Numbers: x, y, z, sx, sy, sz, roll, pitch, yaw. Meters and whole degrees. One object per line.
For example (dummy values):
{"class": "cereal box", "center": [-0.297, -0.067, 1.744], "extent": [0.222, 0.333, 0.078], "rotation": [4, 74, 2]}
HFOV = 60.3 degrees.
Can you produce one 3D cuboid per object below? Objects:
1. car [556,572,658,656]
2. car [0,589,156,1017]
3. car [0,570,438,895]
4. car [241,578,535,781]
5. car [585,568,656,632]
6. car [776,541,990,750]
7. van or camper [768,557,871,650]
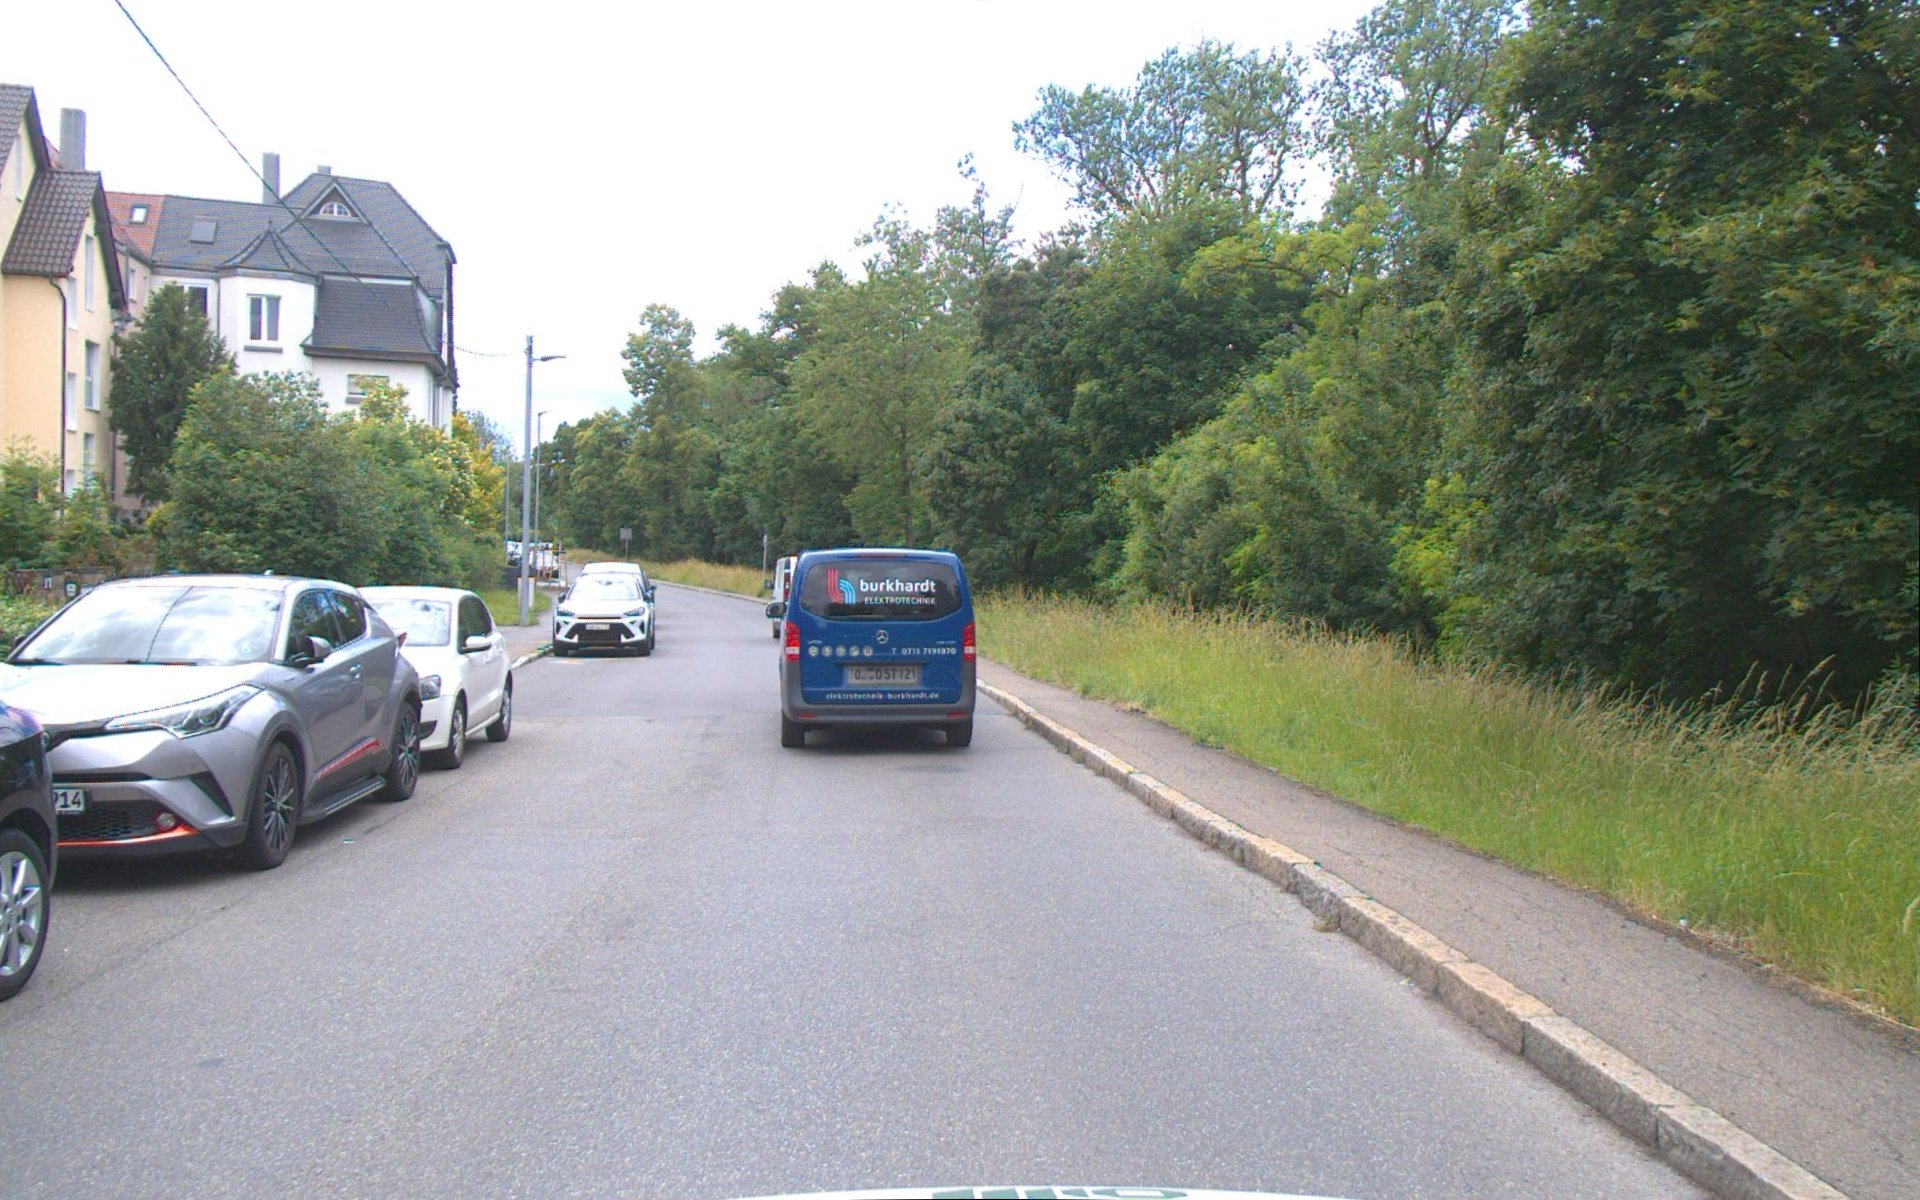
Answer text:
{"class": "car", "center": [-6.938, 0.247, 32.857], "extent": [1.693, 1.518, 4.404], "rotation": [2, 0, -9]}
{"class": "car", "center": [-4.058, 0.698, 4.697], "extent": [1.616, 1.467, 4.330], "rotation": [1, 0, -3]}
{"class": "car", "center": [-4.487, 0.603, 9.744], "extent": [1.726, 1.506, 4.124], "rotation": [1, 0, -4]}
{"class": "car", "center": [-4.874, 0.604, 14.616], "extent": [1.592, 1.506, 3.922], "rotation": [2, 0, -7]}
{"class": "car", "center": [-9.466, -0.029, 46.323], "extent": [1.783, 1.644, 4.213], "rotation": [2, 0, -11]}
{"class": "car", "center": [-0.922, 0.414, 17.003], "extent": [1.877, 1.870, 4.287], "rotation": [1, 0, -7]}
{"class": "van or camper", "center": [-3.324, 0.031, 38.389], "extent": [1.982, 1.991, 4.885], "rotation": [-1, 1, -10]}
